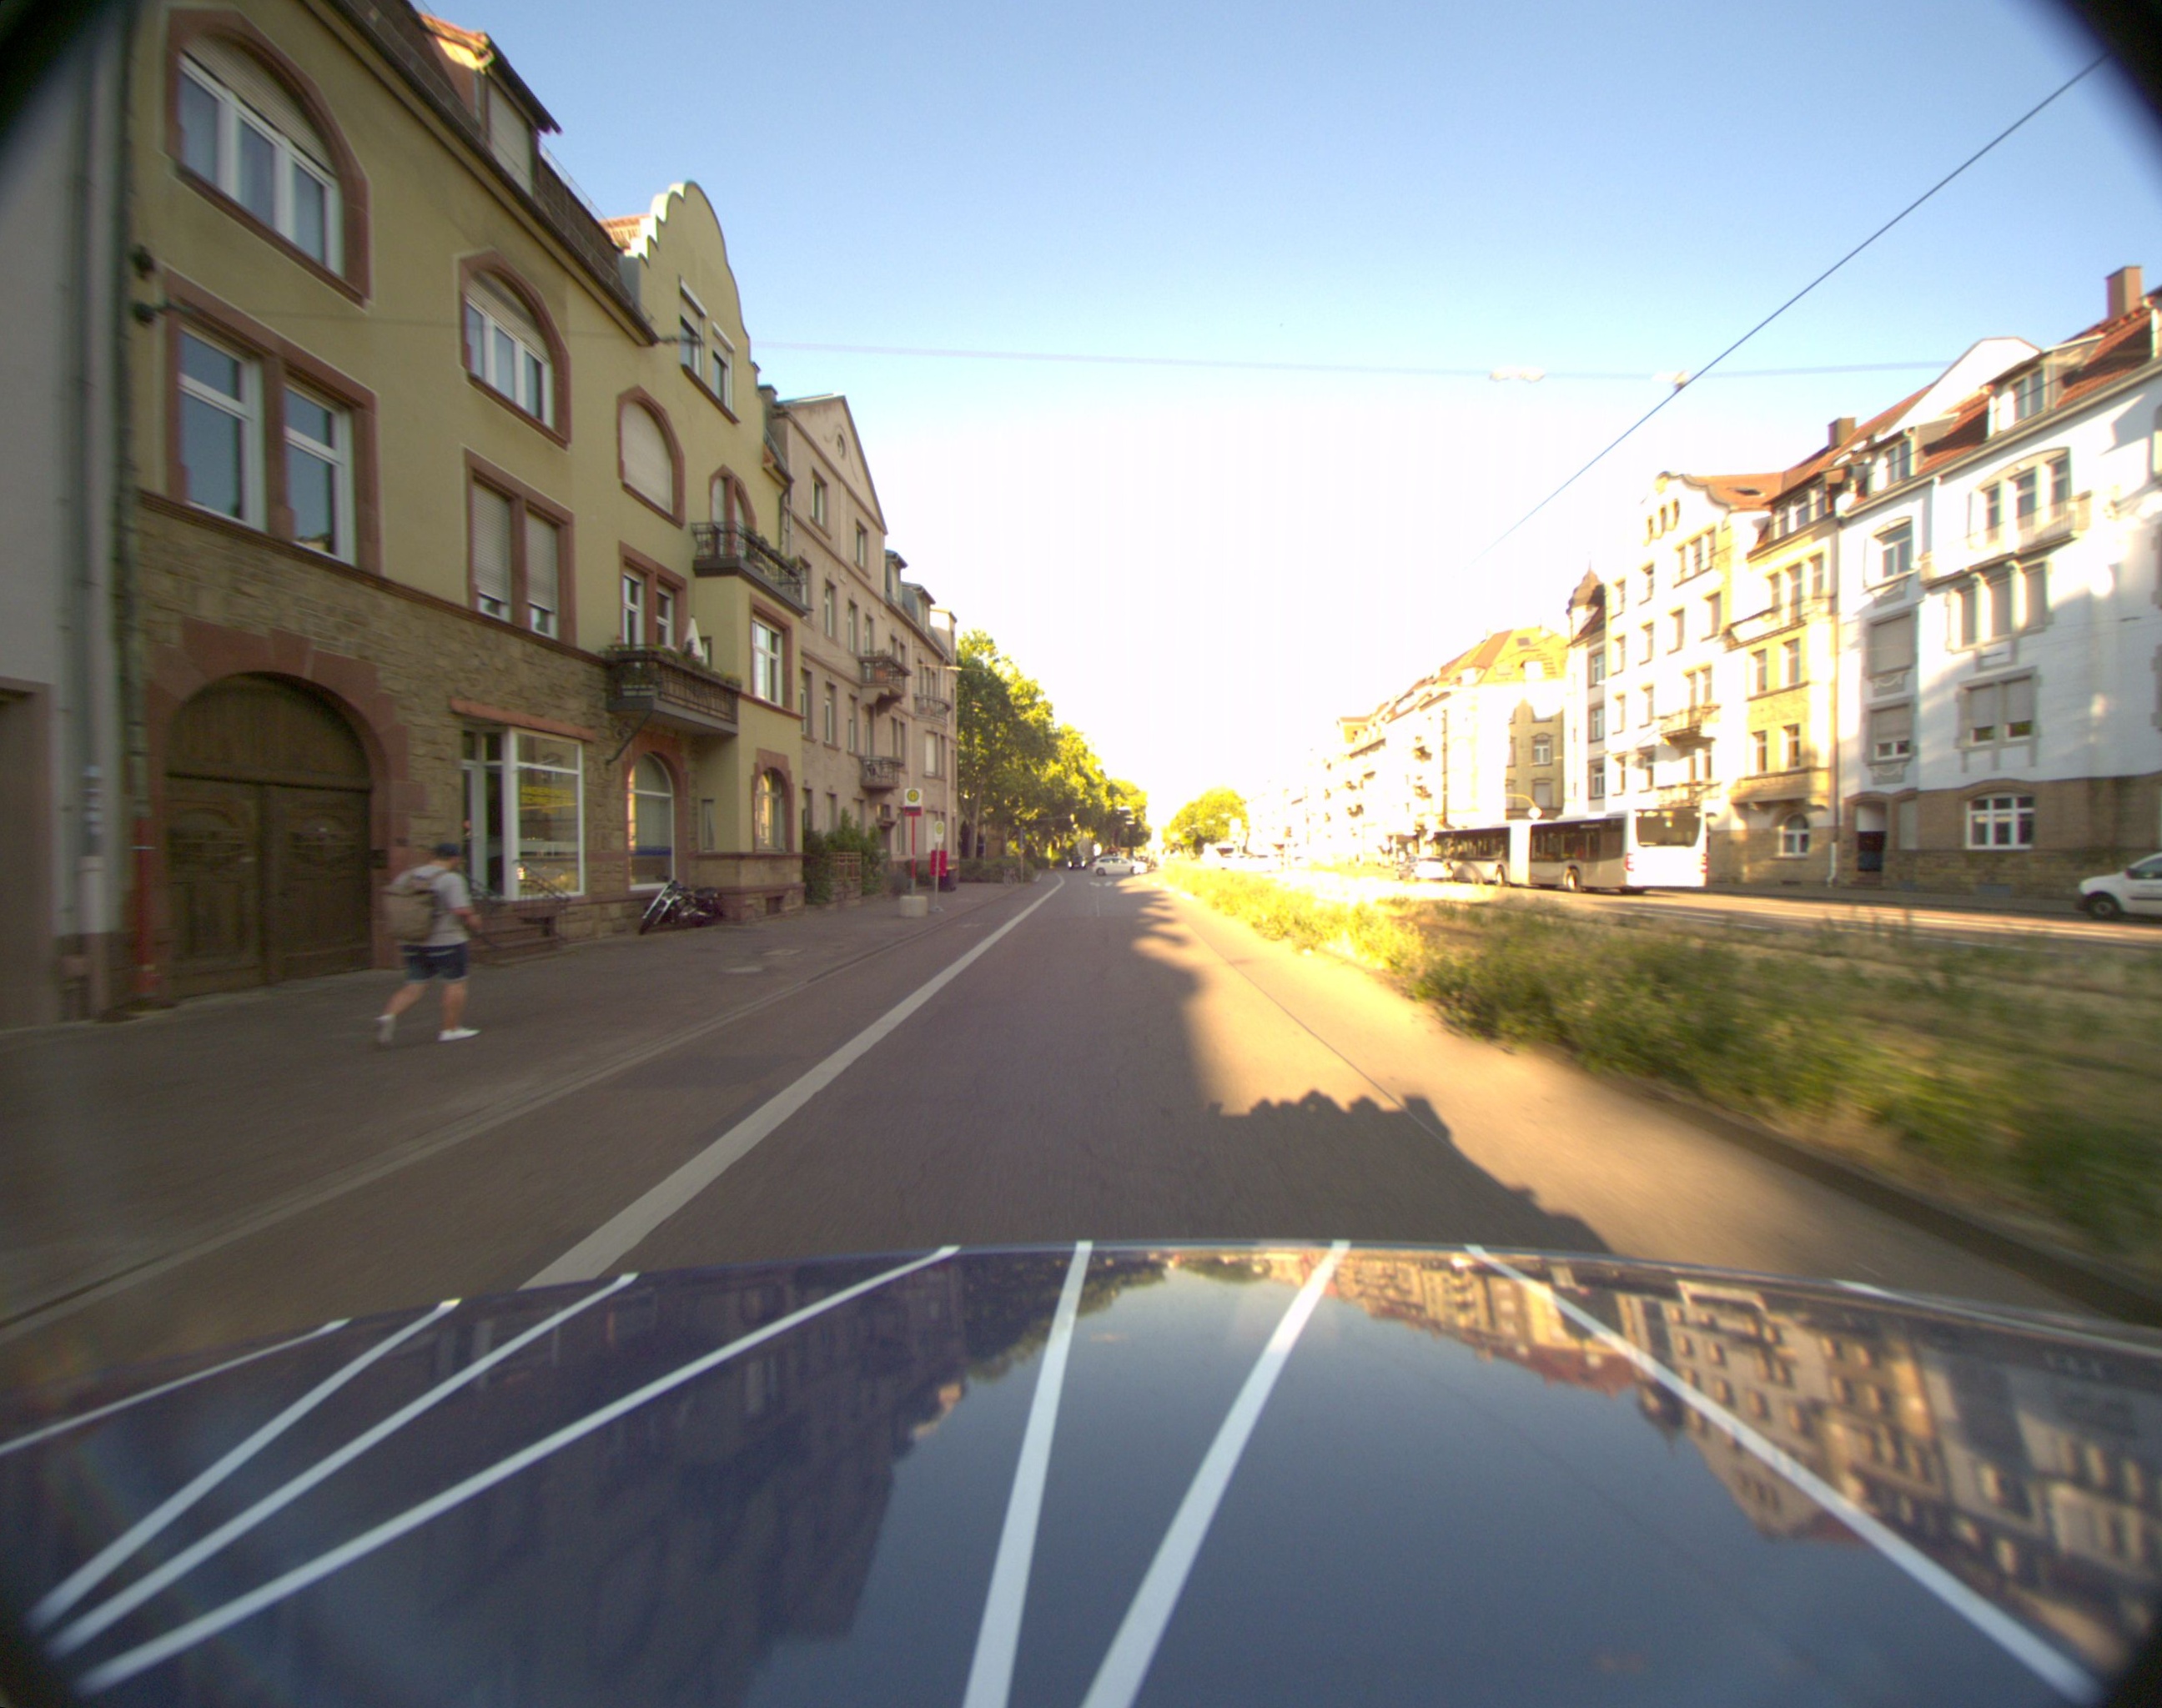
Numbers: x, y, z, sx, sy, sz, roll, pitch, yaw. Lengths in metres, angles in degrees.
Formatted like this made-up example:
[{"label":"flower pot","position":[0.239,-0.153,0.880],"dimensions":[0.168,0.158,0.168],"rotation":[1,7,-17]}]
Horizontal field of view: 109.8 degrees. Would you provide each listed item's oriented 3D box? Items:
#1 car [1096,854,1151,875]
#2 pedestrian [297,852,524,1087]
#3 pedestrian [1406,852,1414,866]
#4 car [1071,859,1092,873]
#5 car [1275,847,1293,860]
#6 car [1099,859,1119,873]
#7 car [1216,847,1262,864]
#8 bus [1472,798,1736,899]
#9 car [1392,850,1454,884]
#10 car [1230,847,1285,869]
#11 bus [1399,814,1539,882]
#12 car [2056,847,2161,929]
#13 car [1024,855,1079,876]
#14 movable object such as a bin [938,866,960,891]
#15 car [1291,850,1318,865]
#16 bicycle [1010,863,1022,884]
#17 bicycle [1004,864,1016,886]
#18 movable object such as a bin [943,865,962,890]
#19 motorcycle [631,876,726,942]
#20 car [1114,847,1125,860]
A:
[{"label":"car","position":[3.357,0.822,59.498],"dimensions":[4.050,1.517,1.783],"rotation":[0,1,10]},{"label":"pedestrian","position":[-5.610,0.901,6.456],"dimensions":[0.830,1.802,1.150],"rotation":[0,2,3]},{"label":"pedestrian","position":[32.604,0.526,75.222],"dimensions":[0.553,1.354,0.555],"rotation":[-1,1,4]},{"label":"car","position":[0.045,1.385,87.765],"dimensions":[1.877,1.586,4.002],"rotation":[-1,0,8]},{"label":"car","position":[30.912,-0.153,115.741],"dimensions":[1.918,1.889,4.310],"rotation":[0,1,6]},{"label":"car","position":[3.232,1.343,86.647],"dimensions":[1.877,1.586,4.002],"rotation":[-1,0,8]},{"label":"car","position":[14.138,0.132,67.844],"dimensions":[4.119,1.442,1.839],"rotation":[-2,2,-40]},{"label":"bus","position":[20.528,-0.296,31.362],"dimensions":[3.262,3.355,11.977],"rotation":[0,1,3]},{"label":"car","position":[18.180,0.647,40.535],"dimensions":[1.934,1.674,4.001],"rotation":[0,1,7]},{"label":"car","position":[14.154,0.336,61.102],"dimensions":[3.996,1.696,1.836],"rotation":[-1,1,3]},{"label":"bus","position":[21.183,-0.395,42.386],"dimensions":[3.272,3.355,9.899],"rotation":[0,1,4]},{"label":"car","position":[24.591,0.765,16.188],"dimensions":[1.908,1.776,4.654],"rotation":[0,1,6]},{"label":"car","position":[-2.292,0.882,59.900],"dimensions":[4.123,1.565,1.717],"rotation":[0,1,7]},{"label":"movable object such as a bin","position":[-5.713,1.050,32.912],"dimensions":[0.656,1.040,0.660],"rotation":[0,2,17]},{"label":"car","position":[23.160,0.315,78.764],"dimensions":[1.733,1.471,3.822],"rotation":[0,0,31]},{"label":"bicycle","position":[-3.552,1.055,41.701],"dimensions":[0.370,1.062,1.874],"rotation":[-1,0,4]},{"label":"bicycle","position":[-3.604,1.049,38.624],"dimensions":[0.438,1.092,1.932],"rotation":[-1,0,0]},{"label":"movable object such as a bin","position":[-5.673,1.033,33.606],"dimensions":[0.570,1.040,0.660],"rotation":[0,2,17]},{"label":"motorcycle","position":[-8.294,1.088,15.795],"dimensions":[0.591,1.131,2.505],"rotation":[-1,1,1]},{"label":"car","position":[7.313,-0.082,143.739],"dimensions":[1.877,2.279,4.001],"rotation":[-1,0,5]}]
